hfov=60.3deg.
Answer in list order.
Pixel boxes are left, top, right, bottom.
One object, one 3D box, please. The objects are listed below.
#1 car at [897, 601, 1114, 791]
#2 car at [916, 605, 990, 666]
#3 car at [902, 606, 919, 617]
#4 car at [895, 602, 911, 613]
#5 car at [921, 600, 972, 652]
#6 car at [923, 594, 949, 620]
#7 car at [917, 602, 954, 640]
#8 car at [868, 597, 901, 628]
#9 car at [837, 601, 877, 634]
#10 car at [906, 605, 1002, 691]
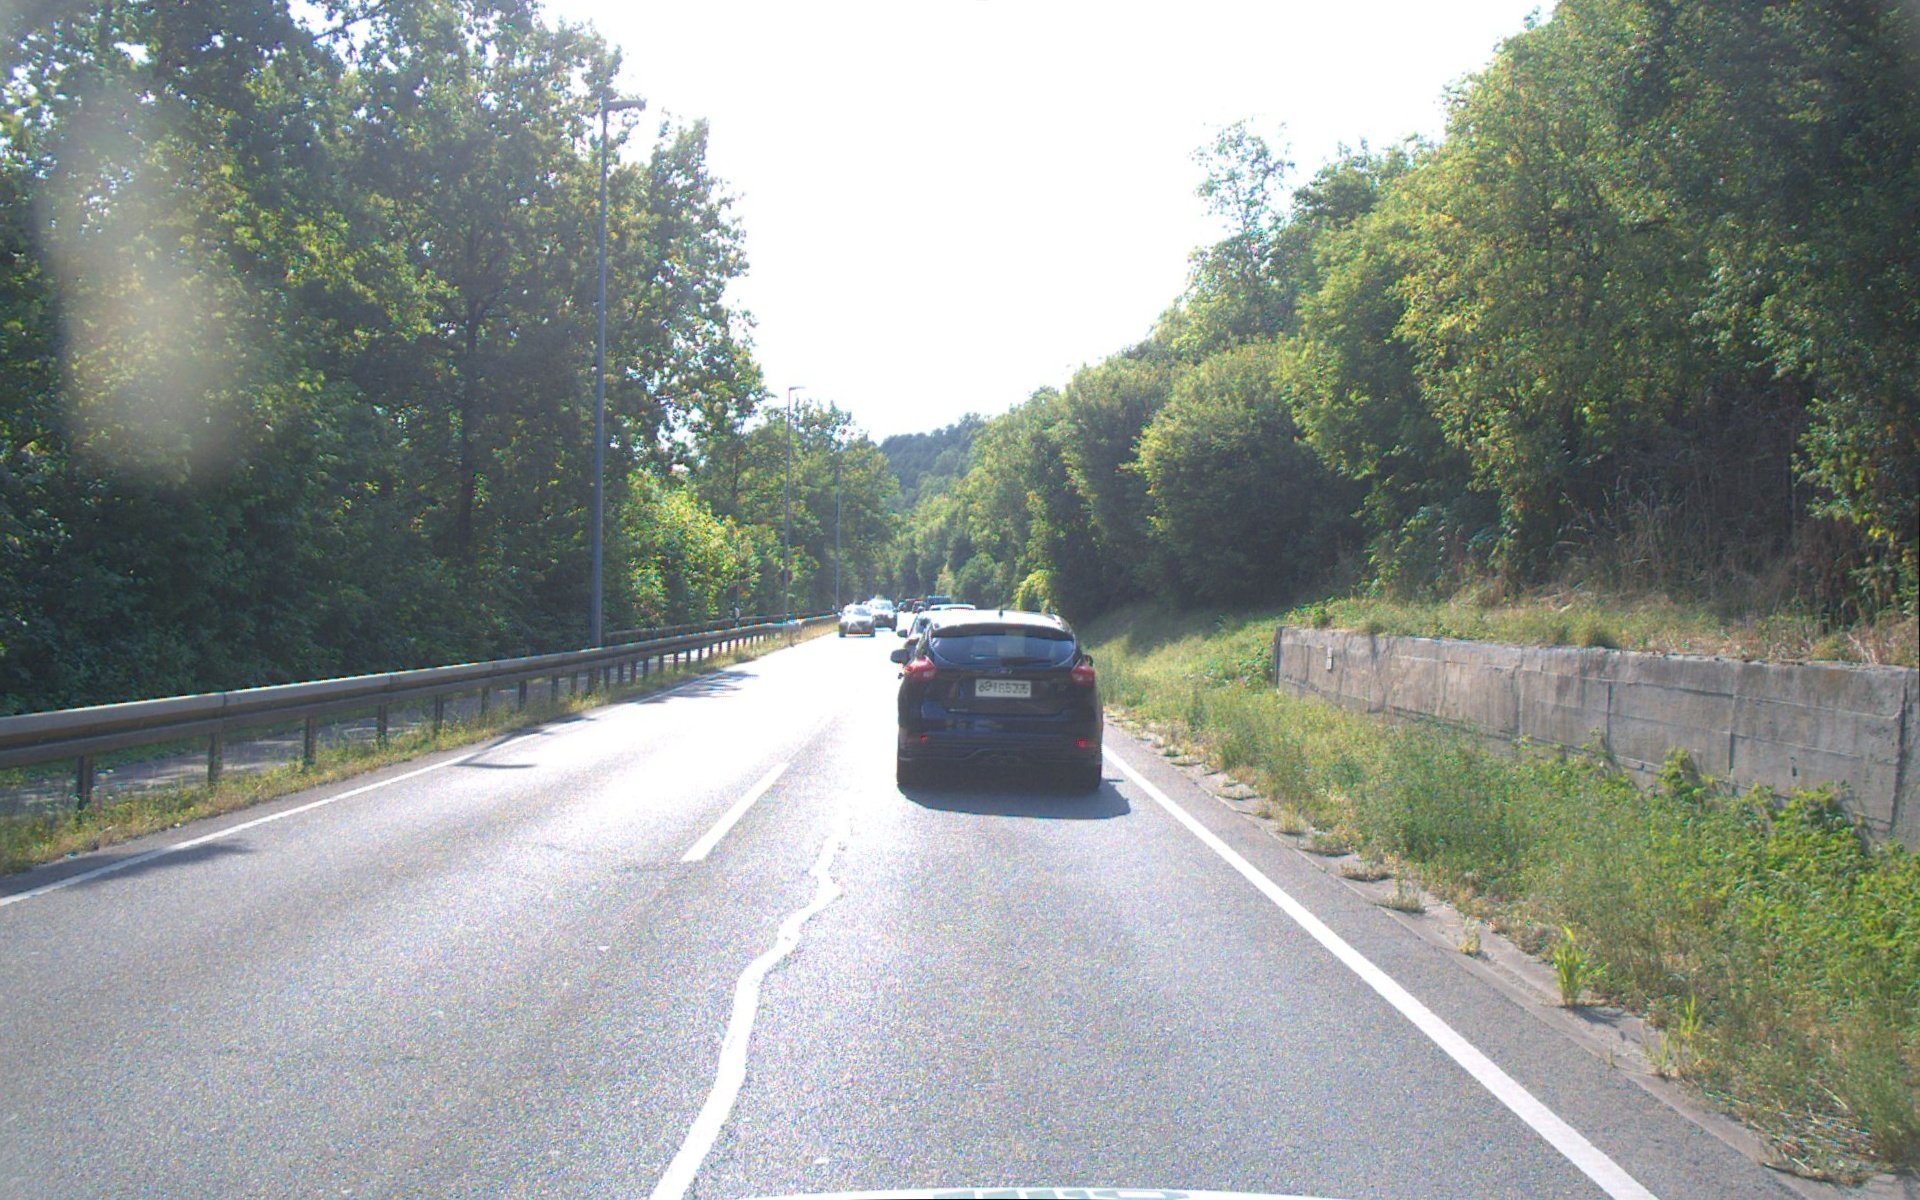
[{"bbox_3d":[0.339,0.776,15.126,1.704,1.482,3.999,1,0,-1],"label":"car"},{"bbox_3d":[-0.190,0.840,41.067,1.768,1.416,3.999,0,0,-1],"label":"car"},{"bbox_3d":[-6.924,1.578,230.542,1.956,1.545,3.992,0,0,-8],"label":"car"},{"bbox_3d":[-8.339,1.068,242.934,1.956,1.545,3.992,0,0,-8],"label":"car"},{"bbox_3d":[-0.438,0.817,53.779,1.597,1.624,3.999,0,0,-1],"label":"car"},{"bbox_3d":[-1.715,0.464,117.873,1.825,1.812,3.999,0,0,-1],"label":"car"},{"bbox_3d":[-1.079,0.910,73.450,1.597,1.624,3.999,0,0,-1],"label":"car"},{"bbox_3d":[-4.221,0.689,93.135,1.712,1.747,4.220,0,0,0],"label":"car"},{"bbox_3d":[-4.796,0.810,77.226,1.647,1.467,3.999,0,0,-1],"label":"car"},{"bbox_3d":[-0.084,0.825,29.977,1.627,1.443,4.000,0,0,1],"label":"car"}]
